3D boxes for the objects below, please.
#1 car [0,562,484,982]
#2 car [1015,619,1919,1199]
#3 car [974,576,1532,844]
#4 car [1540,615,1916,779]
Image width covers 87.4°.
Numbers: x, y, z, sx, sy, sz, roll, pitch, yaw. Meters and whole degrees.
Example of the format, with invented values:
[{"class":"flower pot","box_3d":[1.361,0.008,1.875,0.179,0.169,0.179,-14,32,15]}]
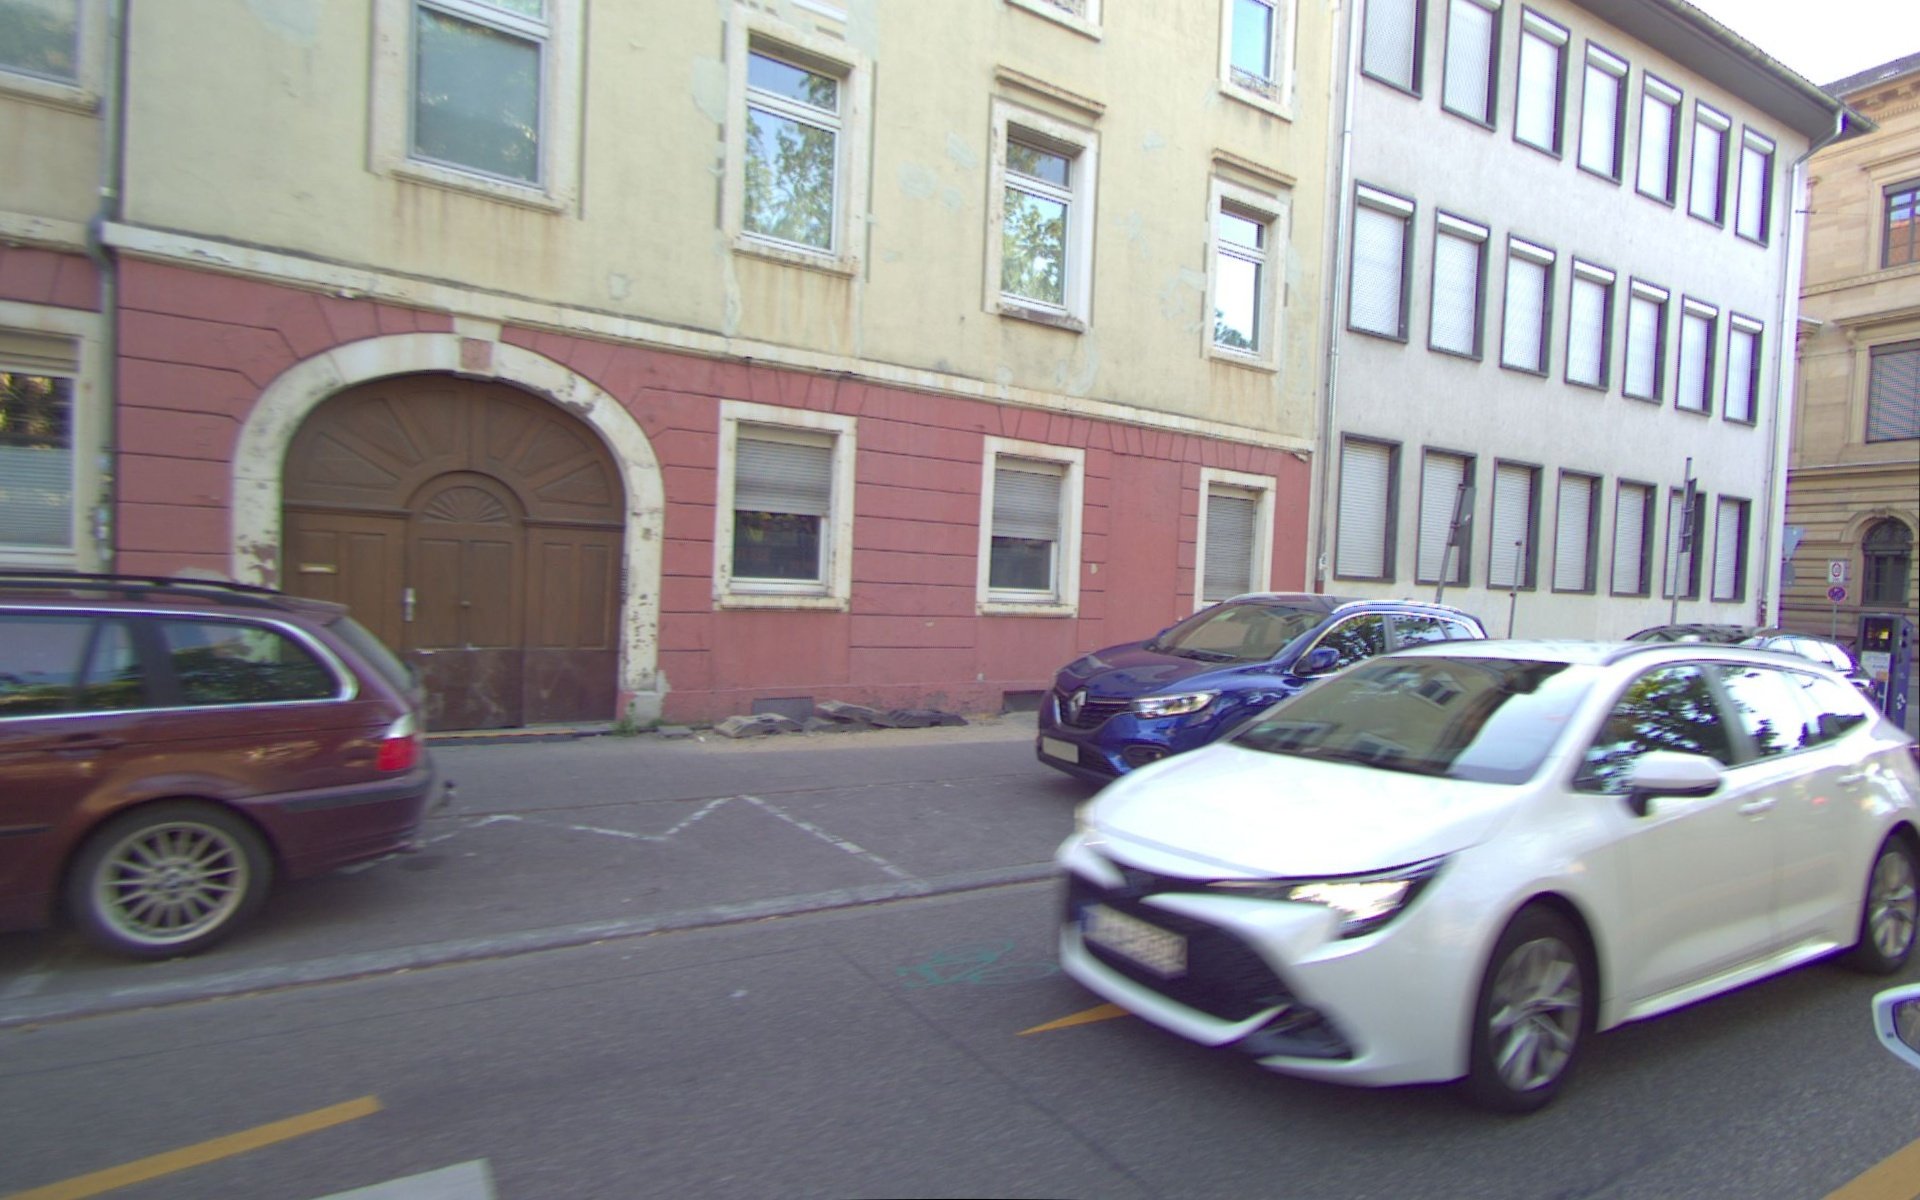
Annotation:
[{"class":"car","box_3d":[-4.383,0.581,3.918,4.381,1.500,1.643,2,1,-33]},{"class":"car","box_3d":[2.550,0.859,4.434,4.377,1.440,1.726,2,0,-30]},{"class":"car","box_3d":[2.462,0.728,8.238,4.295,1.690,1.925,2,1,-29]},{"class":"car","box_3d":[9.199,1.038,11.942,4.703,1.524,1.815,2,2,-30]}]
